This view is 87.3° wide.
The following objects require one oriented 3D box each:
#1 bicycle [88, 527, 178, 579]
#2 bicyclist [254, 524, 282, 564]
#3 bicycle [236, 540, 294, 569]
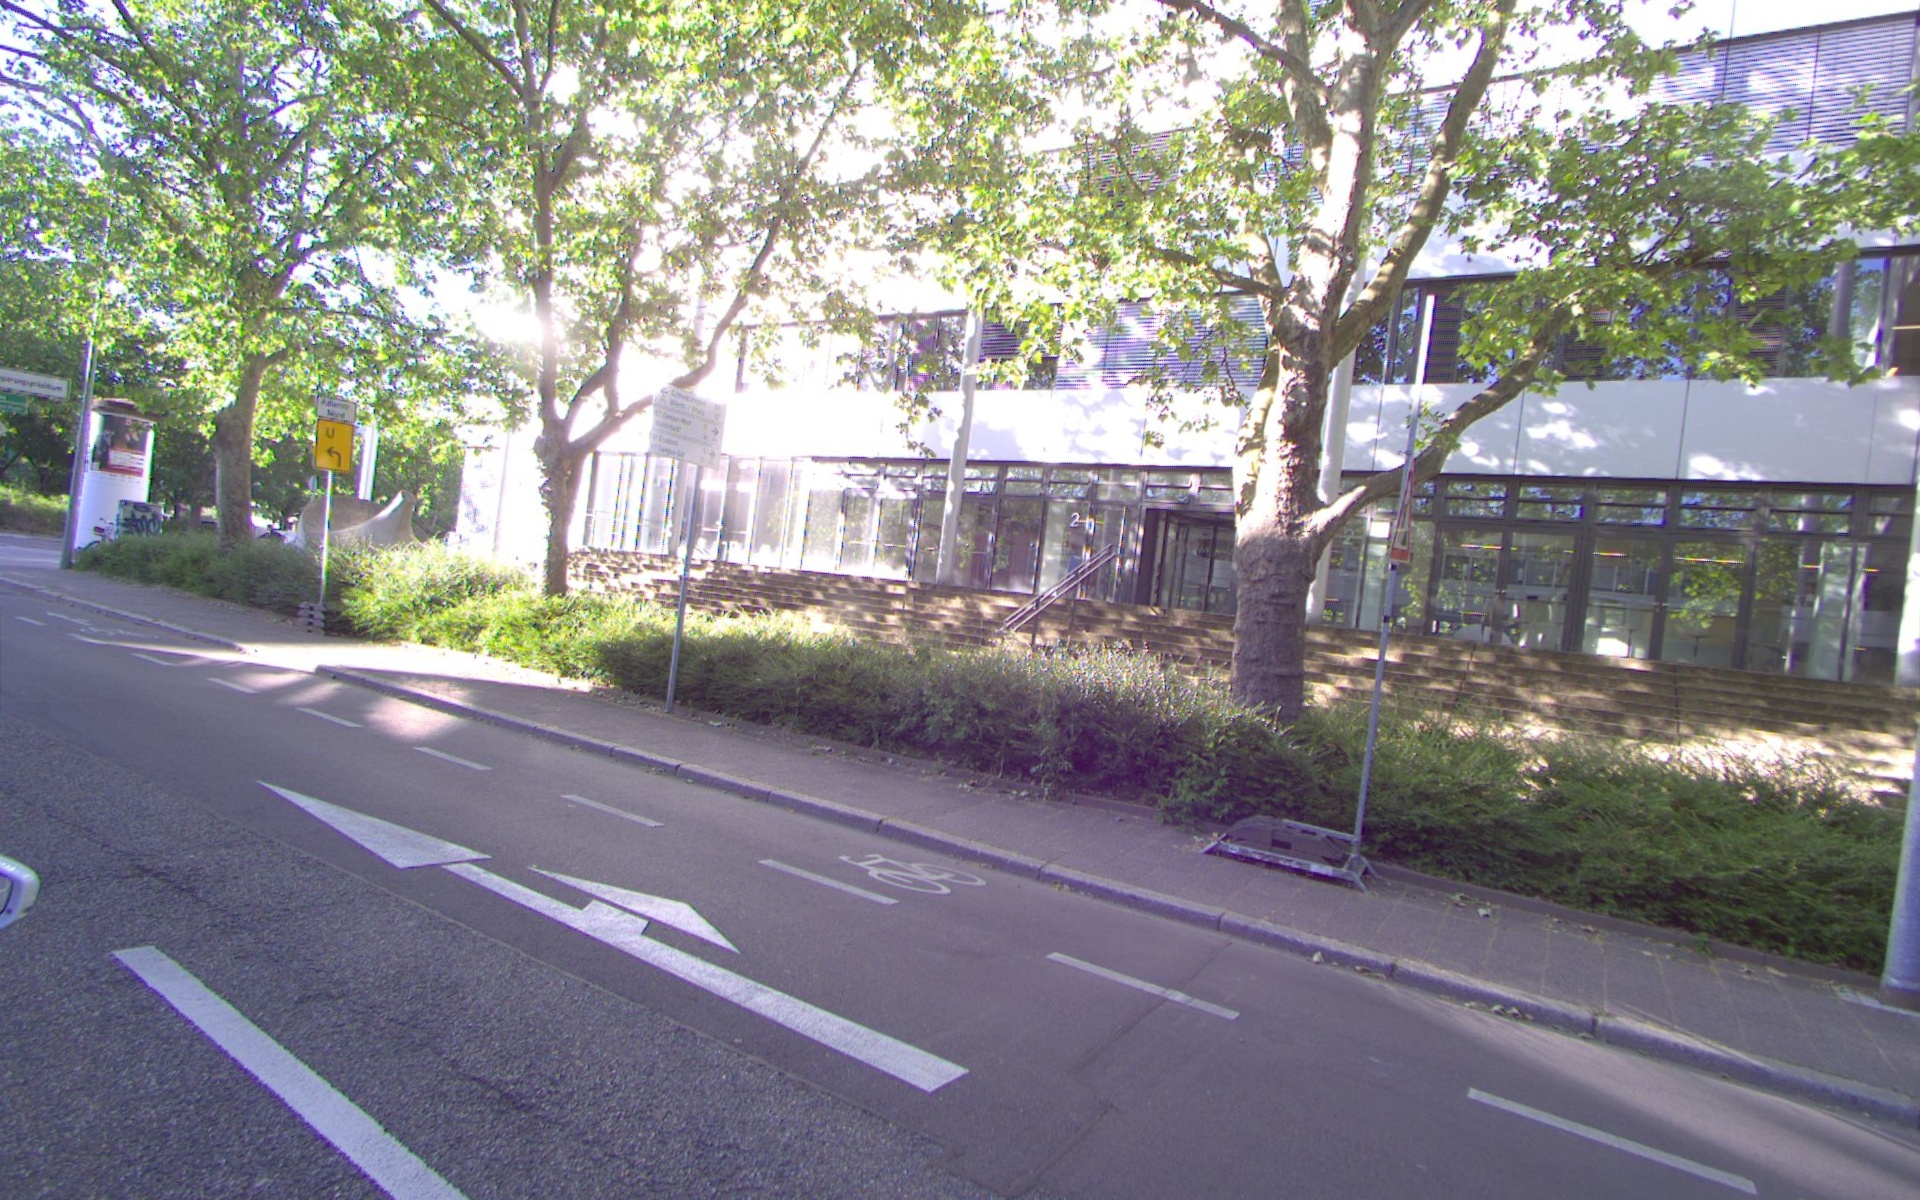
[{"bbox_3d":[-19.033,-1.069,23.169,0.295,0.991,1.484,6,-2,37],"label":"bicycle"},{"bbox_3d":[-30.380,-2.463,44.170,0.588,1.600,0.730,6,-1,38],"label":"bicyclist"},{"bbox_3d":[-30.460,-1.992,44.134,0.592,0.991,1.918,6,-2,37],"label":"bicycle"}]
